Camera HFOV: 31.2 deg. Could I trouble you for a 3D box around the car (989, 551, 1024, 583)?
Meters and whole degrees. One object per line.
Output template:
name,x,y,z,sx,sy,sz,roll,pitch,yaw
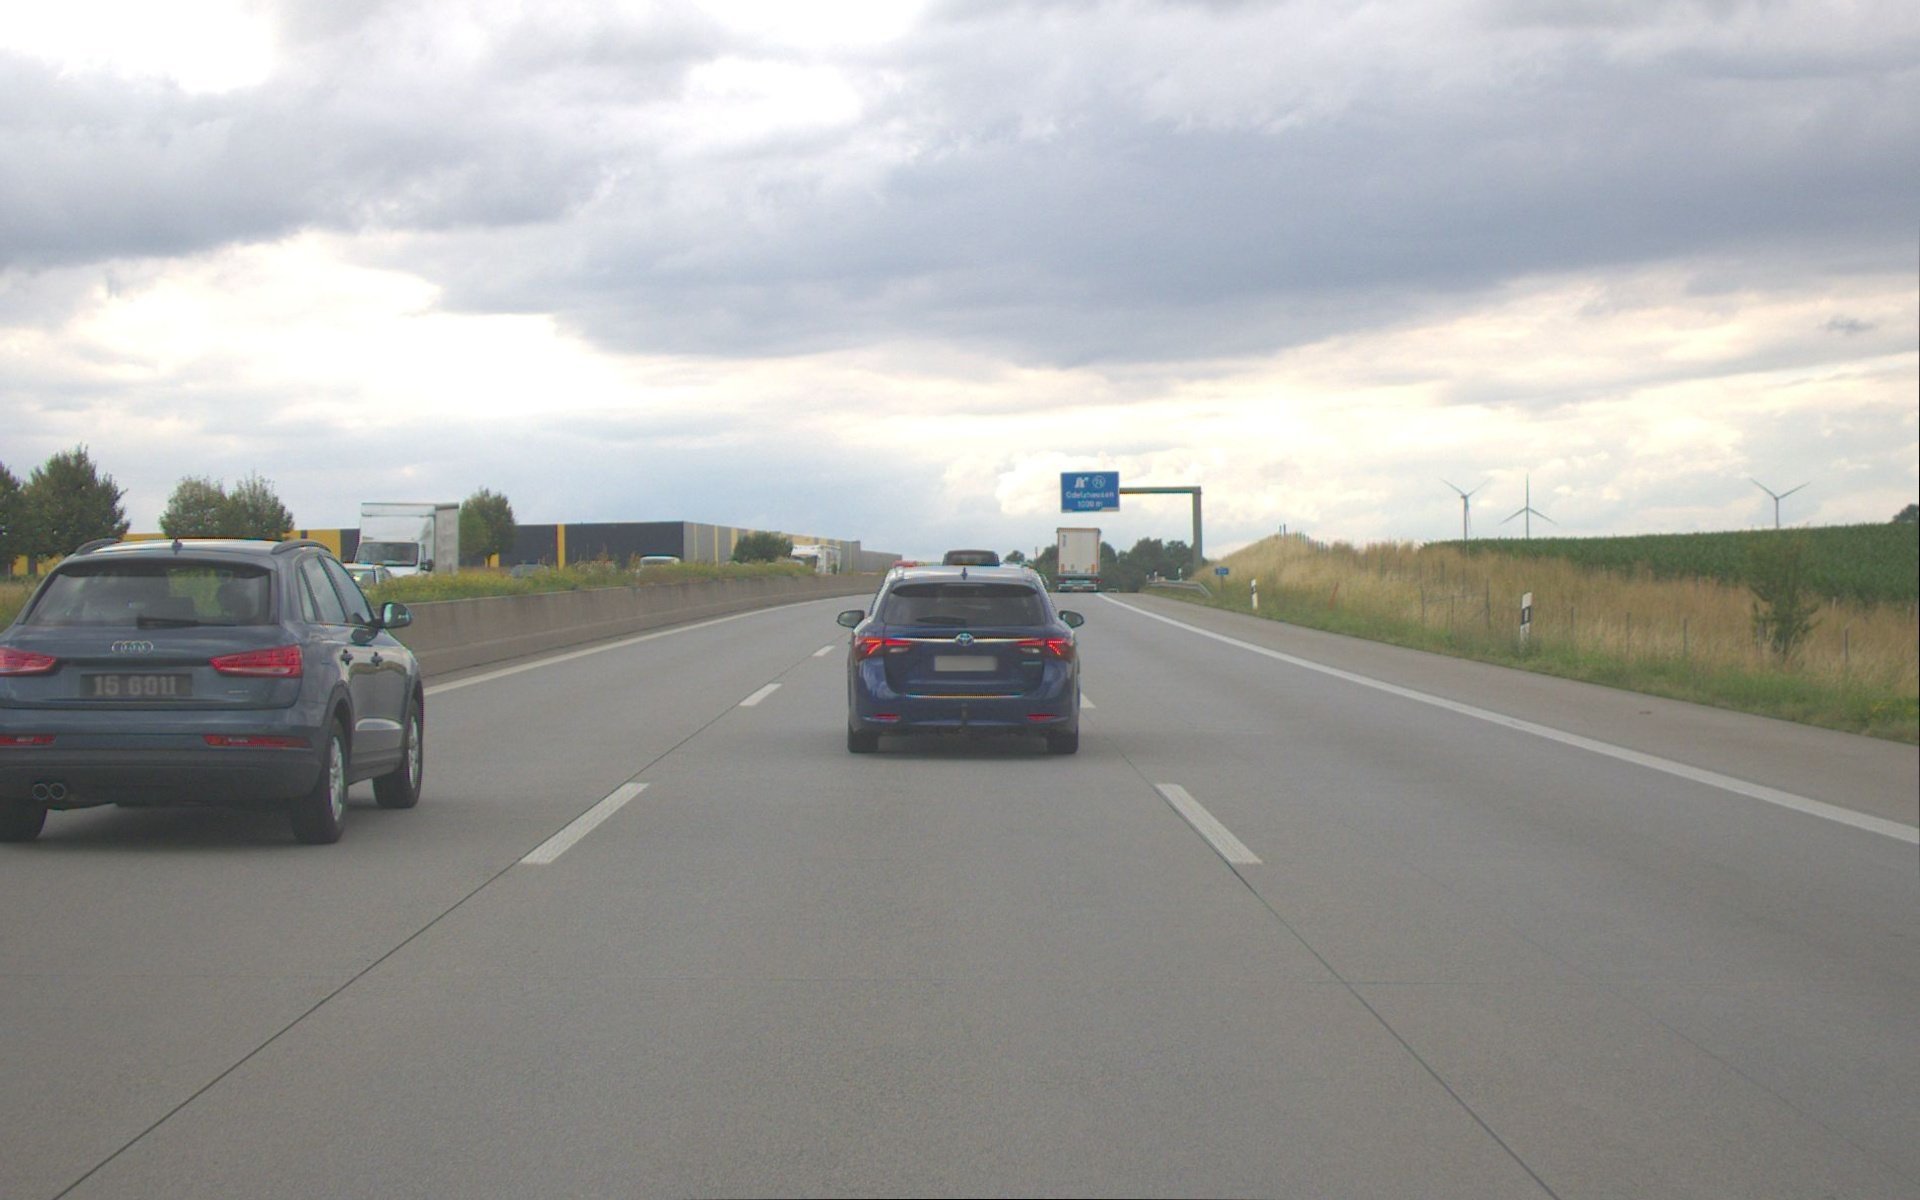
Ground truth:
car,3.025,-2.133,223.960,1.993,2.007,4.000,1,0,-3

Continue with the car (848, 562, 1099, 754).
car,0.035,0.410,27.284,1.774,1.408,4.000,0,0,-3

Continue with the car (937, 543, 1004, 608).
car,0.311,-0.781,109.358,1.993,2.007,4.000,1,0,-2

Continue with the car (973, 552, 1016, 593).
car,1.765,-1.402,175.967,1.993,2.007,4.000,1,1,-1

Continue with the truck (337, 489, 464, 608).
truck,-16.360,-1.463,100.936,2.357,3.316,7.296,1,0,1

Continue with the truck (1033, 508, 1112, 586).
truck,7.088,-3.274,218.610,3.950,4.740,12.077,1,0,-3

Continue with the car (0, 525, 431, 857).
car,-4.070,0.403,19.236,1.792,1.590,5.158,1,1,-4
